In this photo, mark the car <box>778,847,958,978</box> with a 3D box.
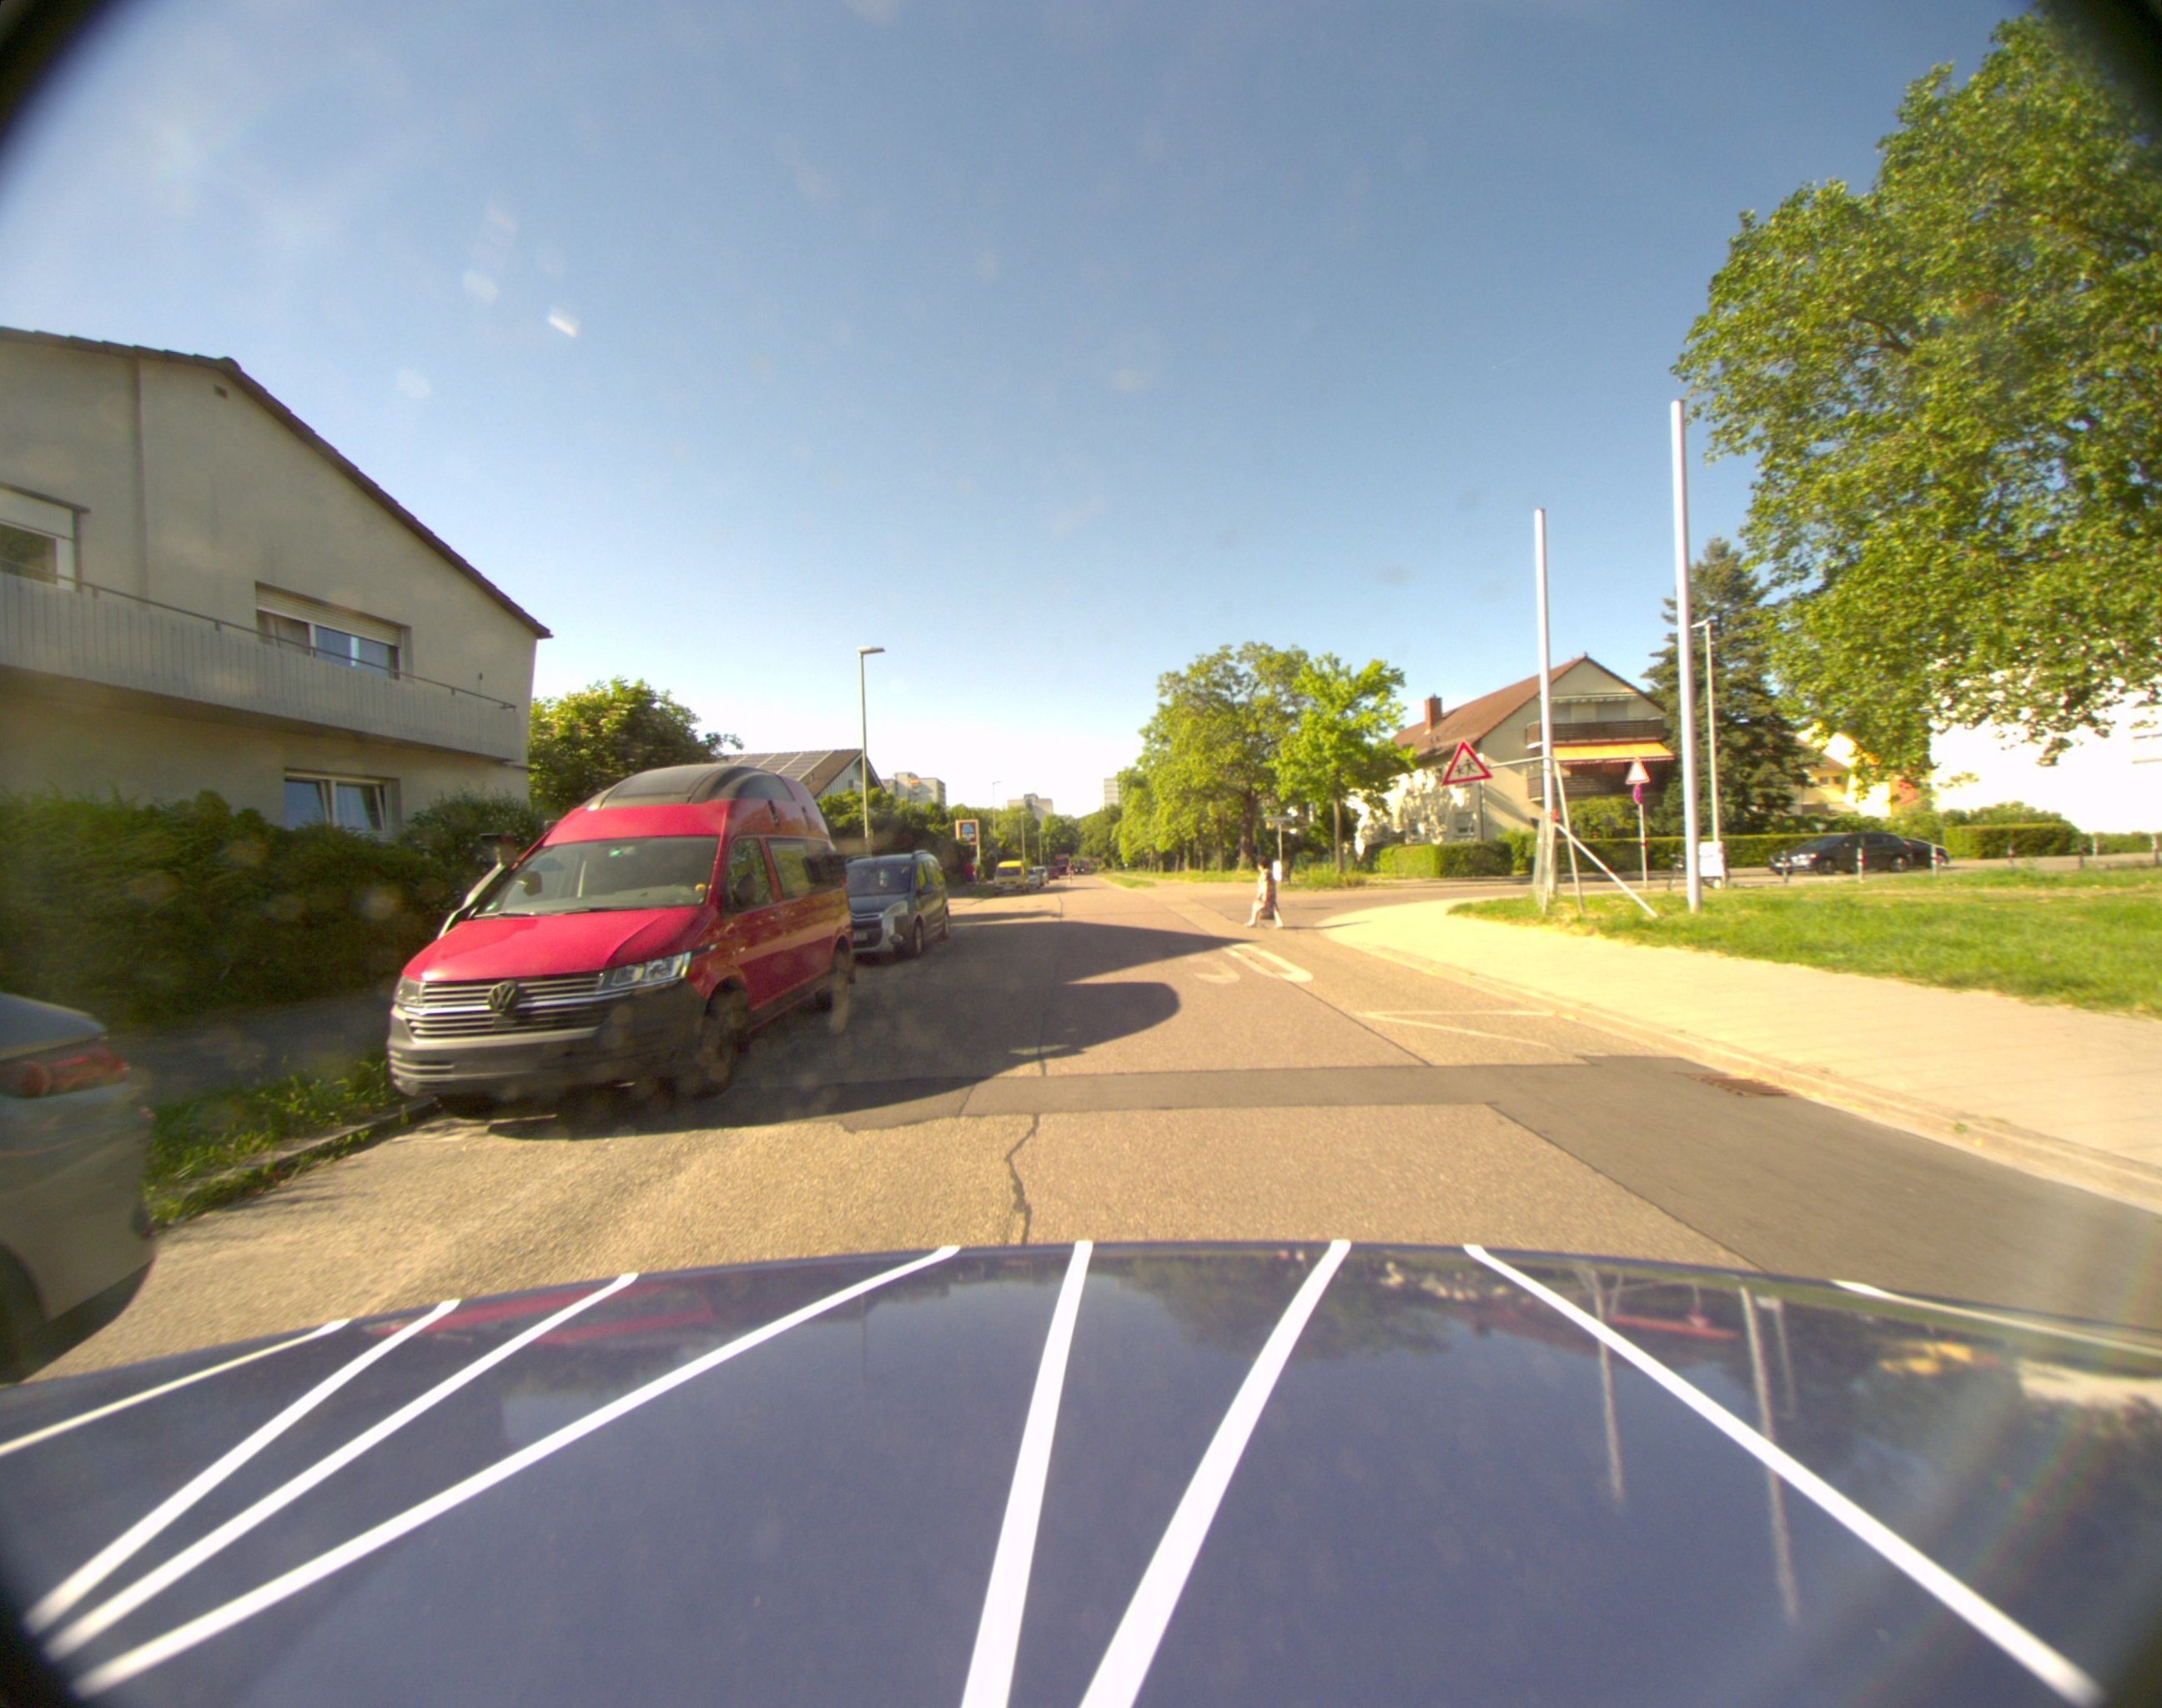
[{"bbox_3d":[-3.562,0.890,13.694,1.862,1.837,4.560,-4,0,0],"label":"car"}]

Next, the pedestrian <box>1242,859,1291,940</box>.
[{"bbox_3d":[3.818,0.909,15.589,0.834,1.578,0.633,2,3,24],"label":"pedestrian"}]

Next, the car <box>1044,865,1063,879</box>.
[{"bbox_3d":[-3.467,2.312,96.071,1.998,1.587,4.578,-3,0,2],"label":"car"}]

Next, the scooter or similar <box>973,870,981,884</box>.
[{"bbox_3d":[-8.231,1.779,59.897,0.478,1.071,0.841,-2,0,-1],"label":"scooter or similar"}]

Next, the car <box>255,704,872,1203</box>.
[{"bbox_3d":[-3.543,0.549,6.786,1.962,2.629,5.222,-3,0,-3],"label":"car"}]

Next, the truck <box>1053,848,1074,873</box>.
[{"bbox_3d":[-3.447,1.293,151.008,3.602,4.543,10.024,-2,0,0],"label":"truck"}]

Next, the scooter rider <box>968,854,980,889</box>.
[{"bbox_3d":[-6.309,1.026,44.865,0.599,2.002,0.486,1,0,-6],"label":"scooter rider"}]

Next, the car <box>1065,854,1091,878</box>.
[{"bbox_3d":[-0.305,1.035,68.322,1.965,1.908,4.576,-3,1,-4],"label":"car"}]

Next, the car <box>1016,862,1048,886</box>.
[{"bbox_3d":[-3.707,1.492,57.857,1.998,1.587,4.578,-3,-1,0],"label":"car"}]

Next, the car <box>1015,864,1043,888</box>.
[{"bbox_3d":[-3.516,1.489,52.114,1.621,1.478,3.981,-3,0,0],"label":"car"}]

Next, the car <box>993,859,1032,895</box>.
[{"bbox_3d":[-3.587,1.165,40.475,1.621,1.766,3.981,-3,0,0],"label":"car"}]

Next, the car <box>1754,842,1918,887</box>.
[{"bbox_3d":[28.401,0.376,28.695,4.106,1.449,2.116,-3,0,-1],"label":"car"}]

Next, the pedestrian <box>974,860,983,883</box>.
[{"bbox_3d":[-8.192,1.379,60.656,0.541,1.758,0.590,-2,0,-1],"label":"pedestrian"}]

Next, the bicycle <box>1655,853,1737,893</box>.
[{"bbox_3d":[16.517,0.510,20.442,1.598,0.978,0.501,-3,-2,16],"label":"bicycle"}]

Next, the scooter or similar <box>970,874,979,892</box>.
[{"bbox_3d":[-6.317,1.724,44.914,0.457,1.024,1.049,1,0,-6],"label":"scooter or similar"}]

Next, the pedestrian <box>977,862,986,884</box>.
[{"bbox_3d":[-8.104,1.571,61.932,0.673,1.758,0.589,-2,0,-8],"label":"pedestrian"}]

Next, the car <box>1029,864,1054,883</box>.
[{"bbox_3d":[-3.616,1.717,69.597,1.999,1.587,4.578,-3,-1,0],"label":"car"}]
